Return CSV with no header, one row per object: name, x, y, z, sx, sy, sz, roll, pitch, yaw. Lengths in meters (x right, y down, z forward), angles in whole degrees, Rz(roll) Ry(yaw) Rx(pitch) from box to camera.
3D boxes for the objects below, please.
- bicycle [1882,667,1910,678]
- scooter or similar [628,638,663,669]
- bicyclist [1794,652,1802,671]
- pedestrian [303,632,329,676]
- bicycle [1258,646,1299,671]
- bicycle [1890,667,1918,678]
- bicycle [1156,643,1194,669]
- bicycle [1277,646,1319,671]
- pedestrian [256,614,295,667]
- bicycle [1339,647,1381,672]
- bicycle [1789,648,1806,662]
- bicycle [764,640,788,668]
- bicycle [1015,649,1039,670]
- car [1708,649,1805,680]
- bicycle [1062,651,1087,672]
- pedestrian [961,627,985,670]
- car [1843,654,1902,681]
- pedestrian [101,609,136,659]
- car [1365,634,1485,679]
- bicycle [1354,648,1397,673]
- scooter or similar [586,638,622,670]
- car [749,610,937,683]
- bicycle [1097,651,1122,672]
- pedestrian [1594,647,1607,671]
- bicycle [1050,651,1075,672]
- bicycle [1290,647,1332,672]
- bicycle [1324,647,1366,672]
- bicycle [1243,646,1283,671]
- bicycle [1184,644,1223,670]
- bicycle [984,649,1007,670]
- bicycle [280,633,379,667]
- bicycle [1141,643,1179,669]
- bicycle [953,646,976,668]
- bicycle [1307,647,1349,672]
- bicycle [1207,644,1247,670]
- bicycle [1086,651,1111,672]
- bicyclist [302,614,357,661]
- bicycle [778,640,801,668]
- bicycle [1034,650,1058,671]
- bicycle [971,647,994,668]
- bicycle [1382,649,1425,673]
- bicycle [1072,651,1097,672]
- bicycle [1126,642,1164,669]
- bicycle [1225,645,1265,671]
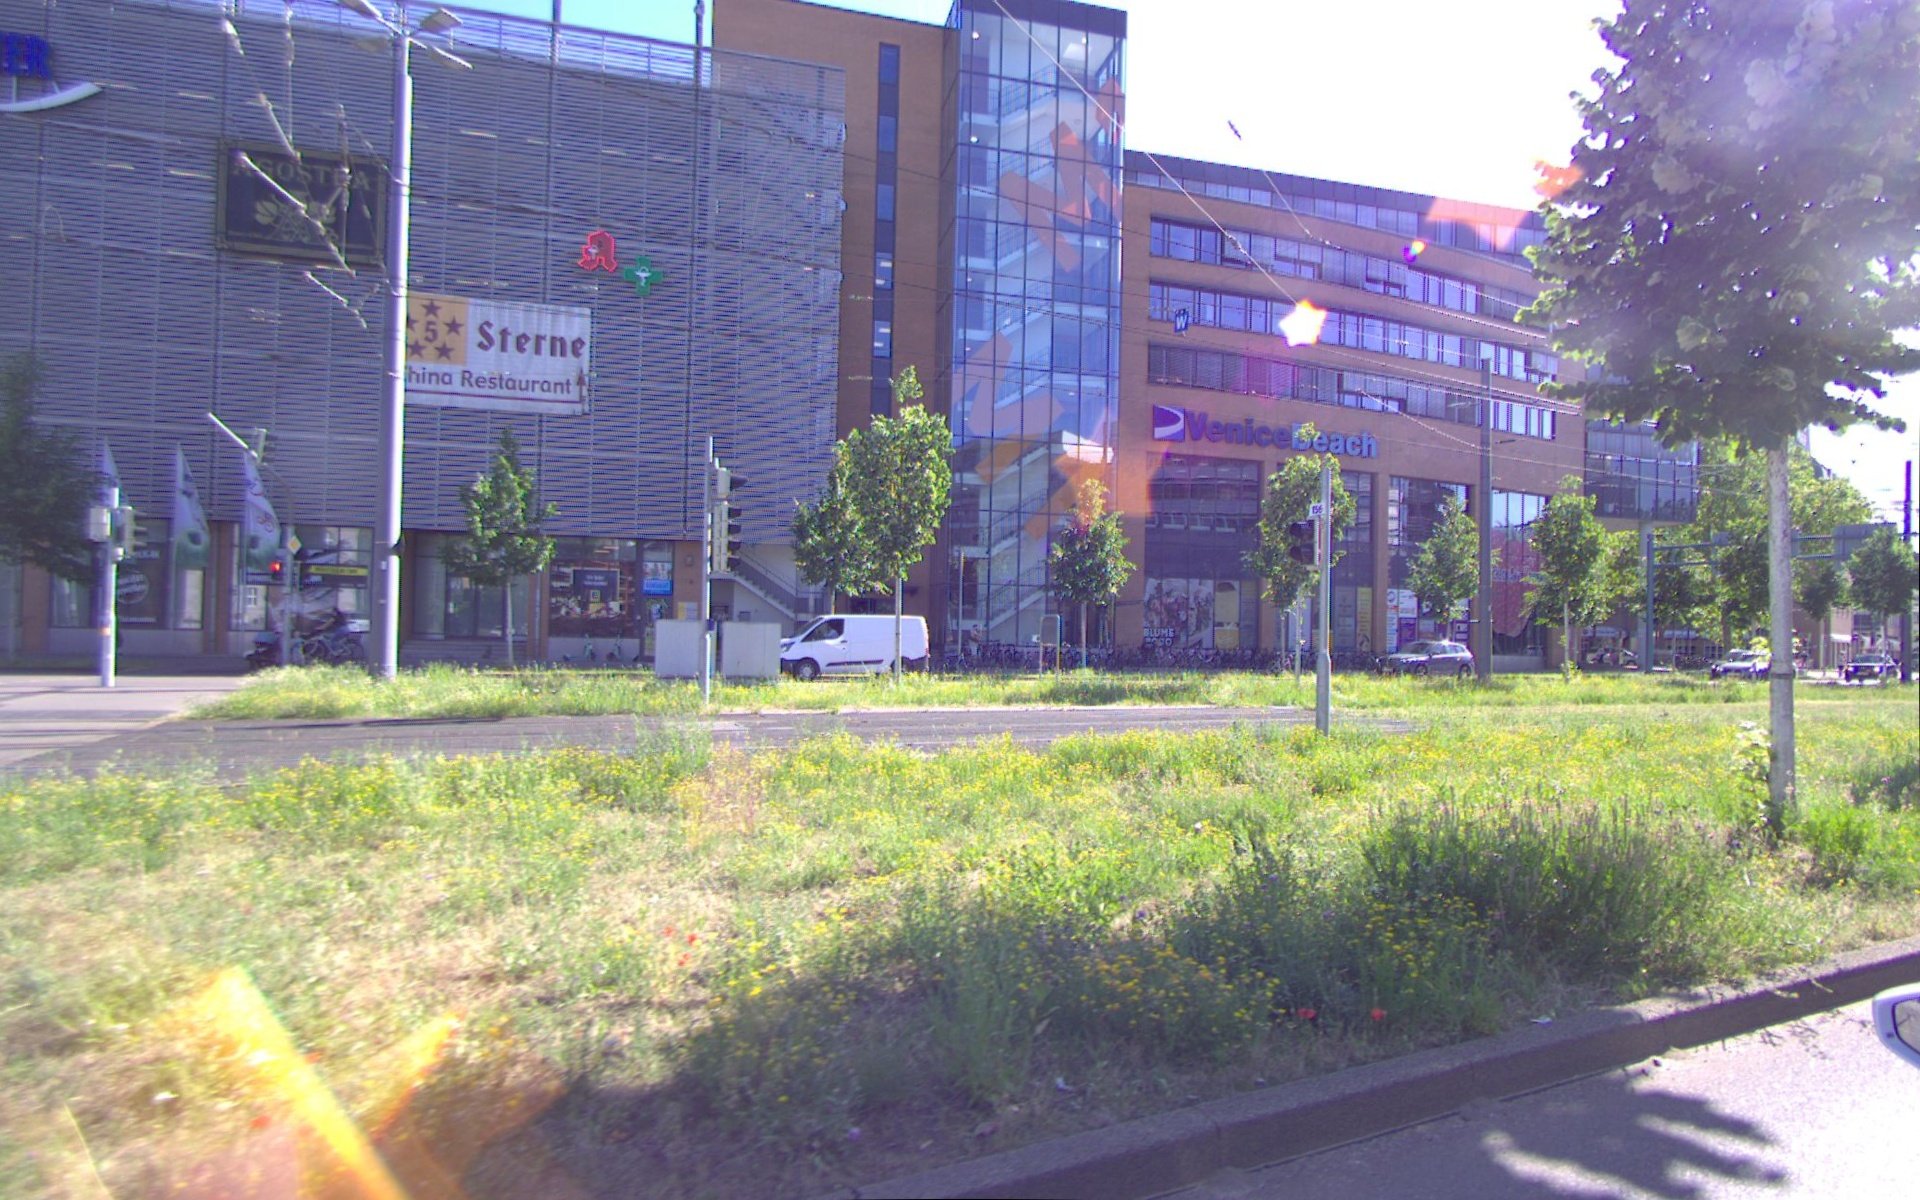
bicycle,117.261,9.084,125.874,0.725,1.327,2.471,3,-2,-32
scooter or similar,-11.859,2.011,37.917,1.185,1.117,0.276,3,-2,-14
bicyclist,60.889,4.476,72.997,0.476,1.395,0.338,4,-2,-32
pedestrian,-18.465,1.538,28.793,0.439,1.245,0.398,1,-1,10
bicycle,15.952,2.922,50.330,0.742,1.138,2.170,2,-1,-21
bicycle,119.483,9.185,127.164,0.725,1.327,2.471,3,-2,-32
bicycle,10.458,2.712,48.858,0.742,1.138,2.170,2,-1,-21
bicycle,16.949,2.925,50.410,0.742,1.138,2.170,2,-1,-21
pedestrian,-19.806,1.179,29.079,0.727,1.506,0.489,2,-1,-6
bicycle,20.658,3.077,51.928,0.742,1.138,2.170,2,-1,-21
bicycle,60.815,3.966,72.950,1.874,0.938,0.351,4,-3,-32
bicycle,-7.070,2.044,38.510,0.485,0.967,2.170,2,-1,-20
bicycle,2.867,2.537,43.045,0.439,0.830,1.444,2,-1,-21
car,37.682,3.064,47.516,4.733,1.351,1.985,2,-2,-30
bicycle,4.977,2.676,43.801,0.439,0.830,1.444,2,-1,-21
pedestrian,0.521,1.928,40.209,0.769,1.707,0.593,2,-2,-29
car,49.710,3.667,54.717,3.255,1.377,1.422,2,-2,-28
pedestrian,-26.538,1.064,31.681,0.638,1.539,0.490,2,-1,-11
car,18.737,2.270,40.483,4.477,1.703,1.988,2,-2,-25
bicycle,21.566,3.136,52.146,0.742,1.138,2.170,2,-1,-21
scooter or similar,-13.341,2.024,37.667,1.185,1.117,0.276,3,-2,-14
car,-3.528,1.413,30.279,5.185,2.040,2.214,2,-2,-25
bicycle,6.649,2.743,44.697,0.439,0.830,1.444,2,-1,-21
pedestrian,46.860,4.313,73.455,0.779,1.645,0.504,4,-2,-31
bicycle,4.433,2.654,43.596,0.439,0.830,1.444,2,-1,-21
bicycle,17.705,2.975,50.711,0.742,1.138,2.170,2,-1,-21
bicycle,19.723,3.055,51.560,0.742,1.138,2.170,2,-1,-21
bicycle,15.080,2.913,50.074,0.742,1.138,2.170,2,-1,-21
bicycle,11.763,2.744,48.587,0.742,1.138,2.170,2,-1,-21
bicycle,1.512,2.542,42.853,0.439,0.830,1.444,2,-1,-21
bicycle,-19.743,1.568,31.489,2.525,1.024,0.596,2,-2,-15
bicycle,9.608,2.682,48.419,0.742,1.138,2.170,2,-1,-21
bicycle,0.174,2.384,42.160,0.439,0.830,1.444,2,-1,-21
bicycle,18.579,3.006,50.789,0.742,1.138,2.170,2,-1,-21
bicycle,13.147,2.798,49.497,0.742,1.138,2.170,2,-1,-21
bicycle,6.120,2.726,44.363,0.439,0.830,1.444,2,-1,-21
bicyclist,-19.754,1.180,31.478,1.290,1.426,0.592,2,-2,-14
bicycle,-6.602,2.062,38.830,0.485,0.967,2.170,2,-1,-20
bicycle,3.687,2.602,43.248,0.439,0.830,1.444,2,-1,-21
bicycle,0.953,2.437,42.703,0.439,0.830,1.444,2,-1,-21
bicycle,23.265,3.188,52.717,0.742,1.138,2.170,2,-1,-21
bicycle,5.461,2.703,43.995,0.439,0.830,1.444,2,-1,-21
bicycle,8.773,2.621,47.816,0.742,1.138,2.170,2,-1,-21
bicycle,14.107,2.852,49.756,0.742,1.138,2.170,2,-1,-21
